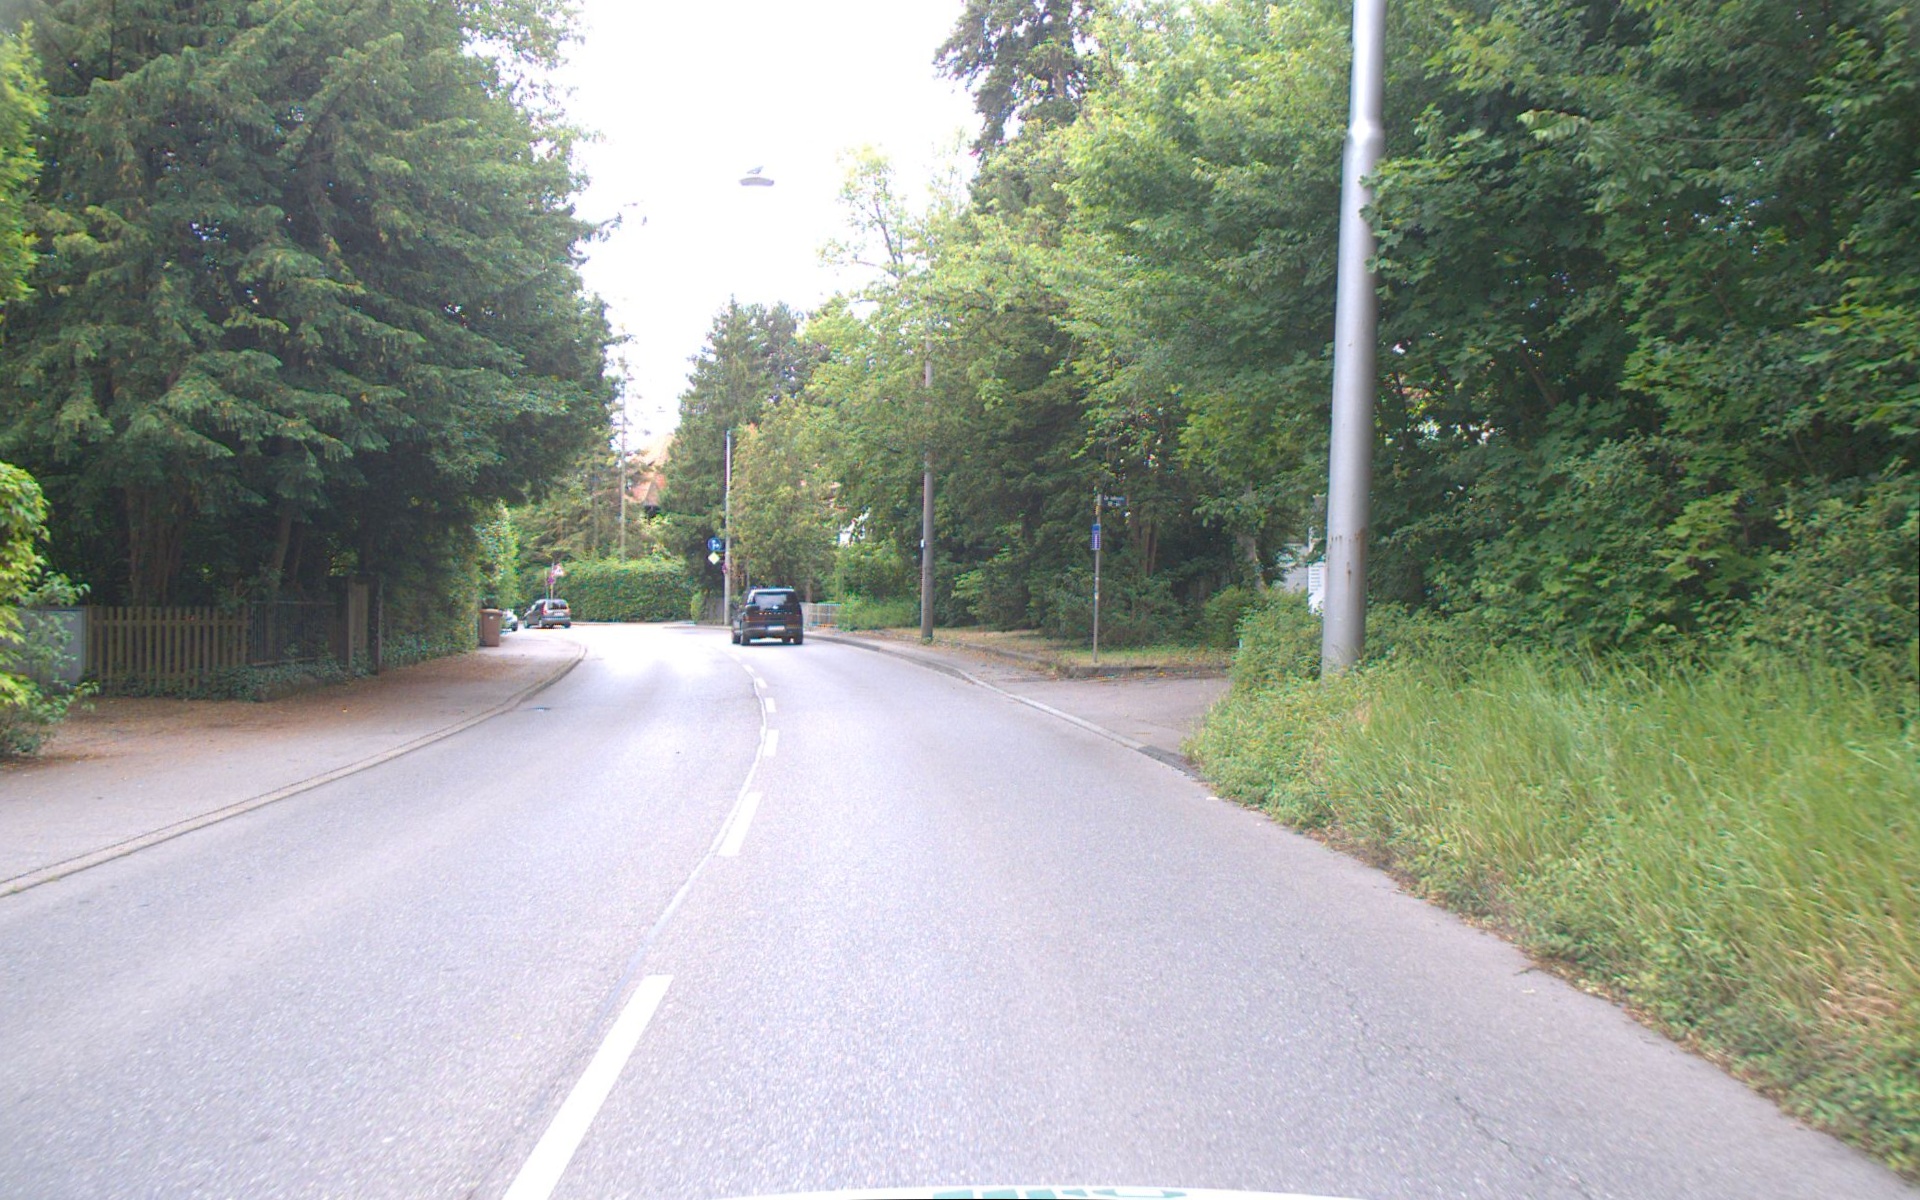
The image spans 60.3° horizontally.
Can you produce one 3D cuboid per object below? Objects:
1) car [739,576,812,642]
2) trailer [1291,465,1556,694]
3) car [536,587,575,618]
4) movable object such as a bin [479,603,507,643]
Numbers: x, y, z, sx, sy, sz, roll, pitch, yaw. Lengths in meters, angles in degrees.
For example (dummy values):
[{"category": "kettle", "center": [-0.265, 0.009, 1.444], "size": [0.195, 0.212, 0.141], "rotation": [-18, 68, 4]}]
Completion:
[{"category": "car", "center": [-5.769, 0.253, 51.354], "size": [1.958, 1.914, 3.990], "rotation": [1, 1, -11]}, {"category": "trailer", "center": [6.221, -0.289, 22.336], "size": [3.059, 2.950, 1.589], "rotation": [-1, 0, -10]}, {"category": "car", "center": [-22.461, 0.125, 92.021], "size": [1.959, 1.646, 3.988], "rotation": [1, 1, -12]}, {"category": "movable object such as a bin", "center": [-13.617, 0.667, 48.276], "size": [0.728, 1.161, 0.644], "rotation": [2, 0, -15]}]
